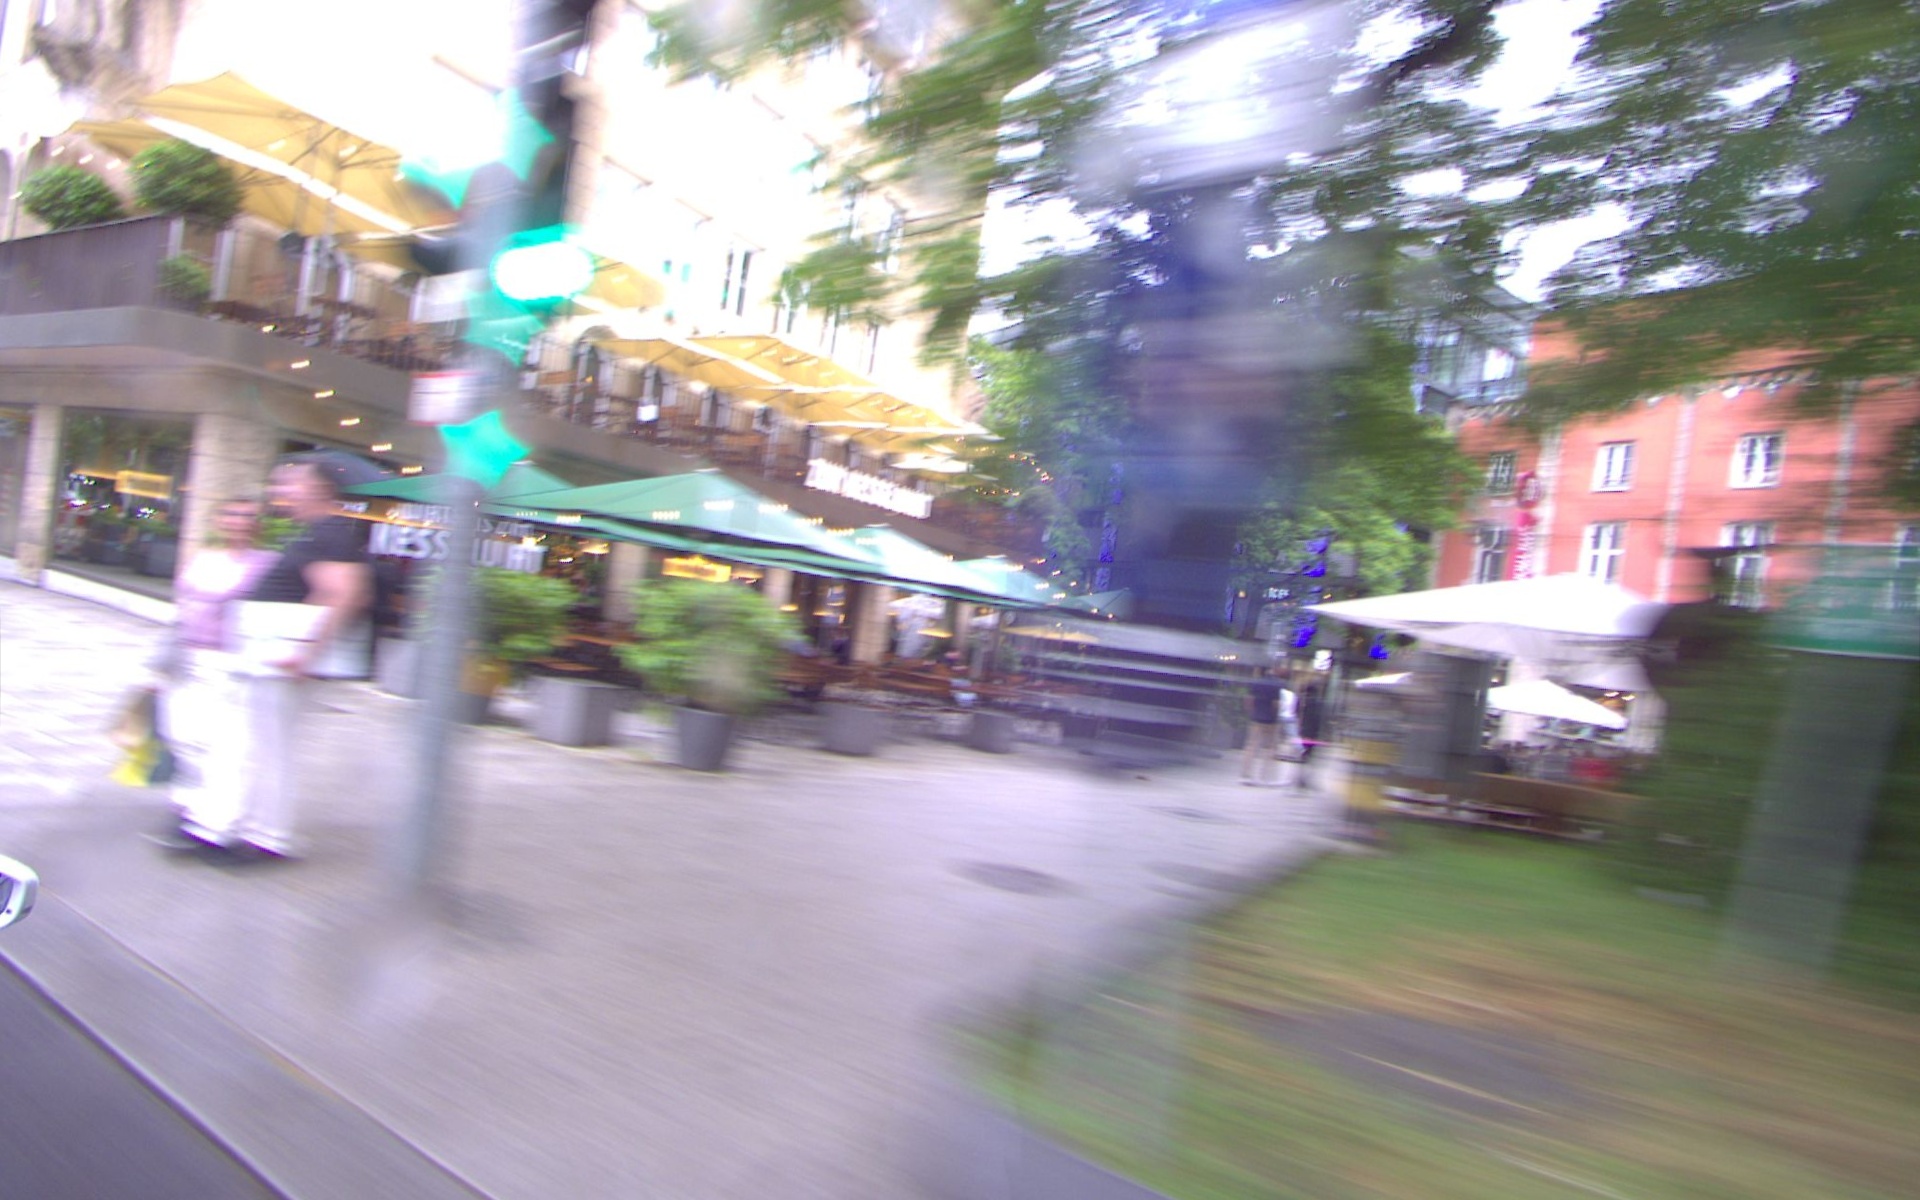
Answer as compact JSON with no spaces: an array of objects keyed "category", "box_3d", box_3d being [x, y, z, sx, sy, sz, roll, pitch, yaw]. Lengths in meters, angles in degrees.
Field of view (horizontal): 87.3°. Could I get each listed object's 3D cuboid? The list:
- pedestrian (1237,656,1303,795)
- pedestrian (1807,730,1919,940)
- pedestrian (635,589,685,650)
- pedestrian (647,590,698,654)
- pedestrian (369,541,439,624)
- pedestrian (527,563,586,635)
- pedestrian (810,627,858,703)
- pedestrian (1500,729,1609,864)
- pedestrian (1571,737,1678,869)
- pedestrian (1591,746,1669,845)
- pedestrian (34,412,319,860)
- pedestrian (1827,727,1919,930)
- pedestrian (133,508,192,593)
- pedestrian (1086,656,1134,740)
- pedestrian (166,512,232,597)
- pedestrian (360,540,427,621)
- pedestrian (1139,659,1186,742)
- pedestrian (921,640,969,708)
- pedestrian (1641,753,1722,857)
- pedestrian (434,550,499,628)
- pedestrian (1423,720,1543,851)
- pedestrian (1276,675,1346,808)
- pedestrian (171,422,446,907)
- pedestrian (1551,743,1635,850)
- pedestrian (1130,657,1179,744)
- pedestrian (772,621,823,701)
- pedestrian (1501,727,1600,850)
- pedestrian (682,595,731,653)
[{"category":"pedestrian","box_3d":[4.506,1.812,14.624,0.621,1.911,0.465,7,-2,27]},{"category":"pedestrian","box_3d":[8.814,2.246,9.724,0.493,1.856,0.639,9,-2,-21]},{"category":"pedestrian","box_3d":[-5.734,0.373,19.240,0.536,1.068,0.555,8,-1,33]},{"category":"pedestrian","box_3d":[-5.295,0.404,18.552,0.536,1.068,0.555,8,-1,33]},{"category":"pedestrian","box_3d":[-7.875,-0.248,14.256,0.536,1.068,0.555,8,-1,33]},{"category":"pedestrian","box_3d":[-6.609,-0.009,16.479,0.536,1.068,0.555,8,-1,33]},{"category":"pedestrian","box_3d":[-2.323,1.204,18.598,0.418,1.337,0.649,7,-1,27]},{"category":"pedestrian","box_3d":[6.607,2.178,11.191,0.711,1.342,0.637,9,-2,-28]},{"category":"pedestrian","box_3d":[7.578,2.312,11.483,0.711,1.342,0.637,9,-2,-28]},{"category":"pedestrian","box_3d":[9.454,2.752,14.208,0.627,1.254,0.572,9,-2,-28]},{"category":"pedestrian","box_3d":[-3.547,0.160,4.606,0.617,1.856,0.592,7,-1,4]},{"category":"pedestrian","box_3d":[8.422,2.054,9.116,0.493,1.699,0.545,9,-2,-21]},{"category":"pedestrian","box_3d":[-10.992,-0.680,13.871,0.471,1.085,0.330,8,-1,22]},{"category":"pedestrian","box_3d":[3.146,2.054,21.089,0.615,1.661,0.672,7,-2,27]},{"category":"pedestrian","box_3d":[-10.388,-0.618,13.741,0.539,1.068,0.406,9,-1,-28]},{"category":"pedestrian","box_3d":[-8.294,-0.279,14.734,0.536,1.068,0.555,8,-1,33]},{"category":"pedestrian","box_3d":[4.314,2.130,21.381,0.615,1.661,0.677,7,-2,27]},{"category":"pedestrian","box_3d":[-0.322,1.625,22.014,0.615,1.383,0.739,7,-2,27]},{"category":"pedestrian","box_3d":[9.756,2.769,13.607,0.627,1.254,0.572,9,-2,-28]},{"category":"pedestrian","box_3d":[-7.412,-0.159,15.109,0.536,1.068,0.555,8,-1,33]},{"category":"pedestrian","box_3d":[6.205,2.188,11.976,0.634,1.342,0.941,9,-2,-25]},{"category":"pedestrian","box_3d":[4.862,1.937,13.911,0.615,1.699,0.849,7,-2,27]},{"category":"pedestrian","box_3d":[-2.735,0.250,4.248,0.554,1.856,0.633,6,-1,35]},{"category":"pedestrian","box_3d":[8.268,2.564,13.154,0.627,1.254,0.572,9,-2,-28]},{"category":"pedestrian","box_3d":[3.997,2.063,20.643,0.615,1.661,0.677,7,-2,27]},{"category":"pedestrian","box_3d":[-2.850,1.085,17.720,0.418,1.337,0.649,7,-1,27]},{"category":"pedestrian","box_3d":[7.192,2.290,12.259,0.711,1.342,0.637,9,-2,-28]},{"category":"pedestrian","box_3d":[-5.120,0.488,20.321,0.641,1.068,0.555,8,-1,33]}]
